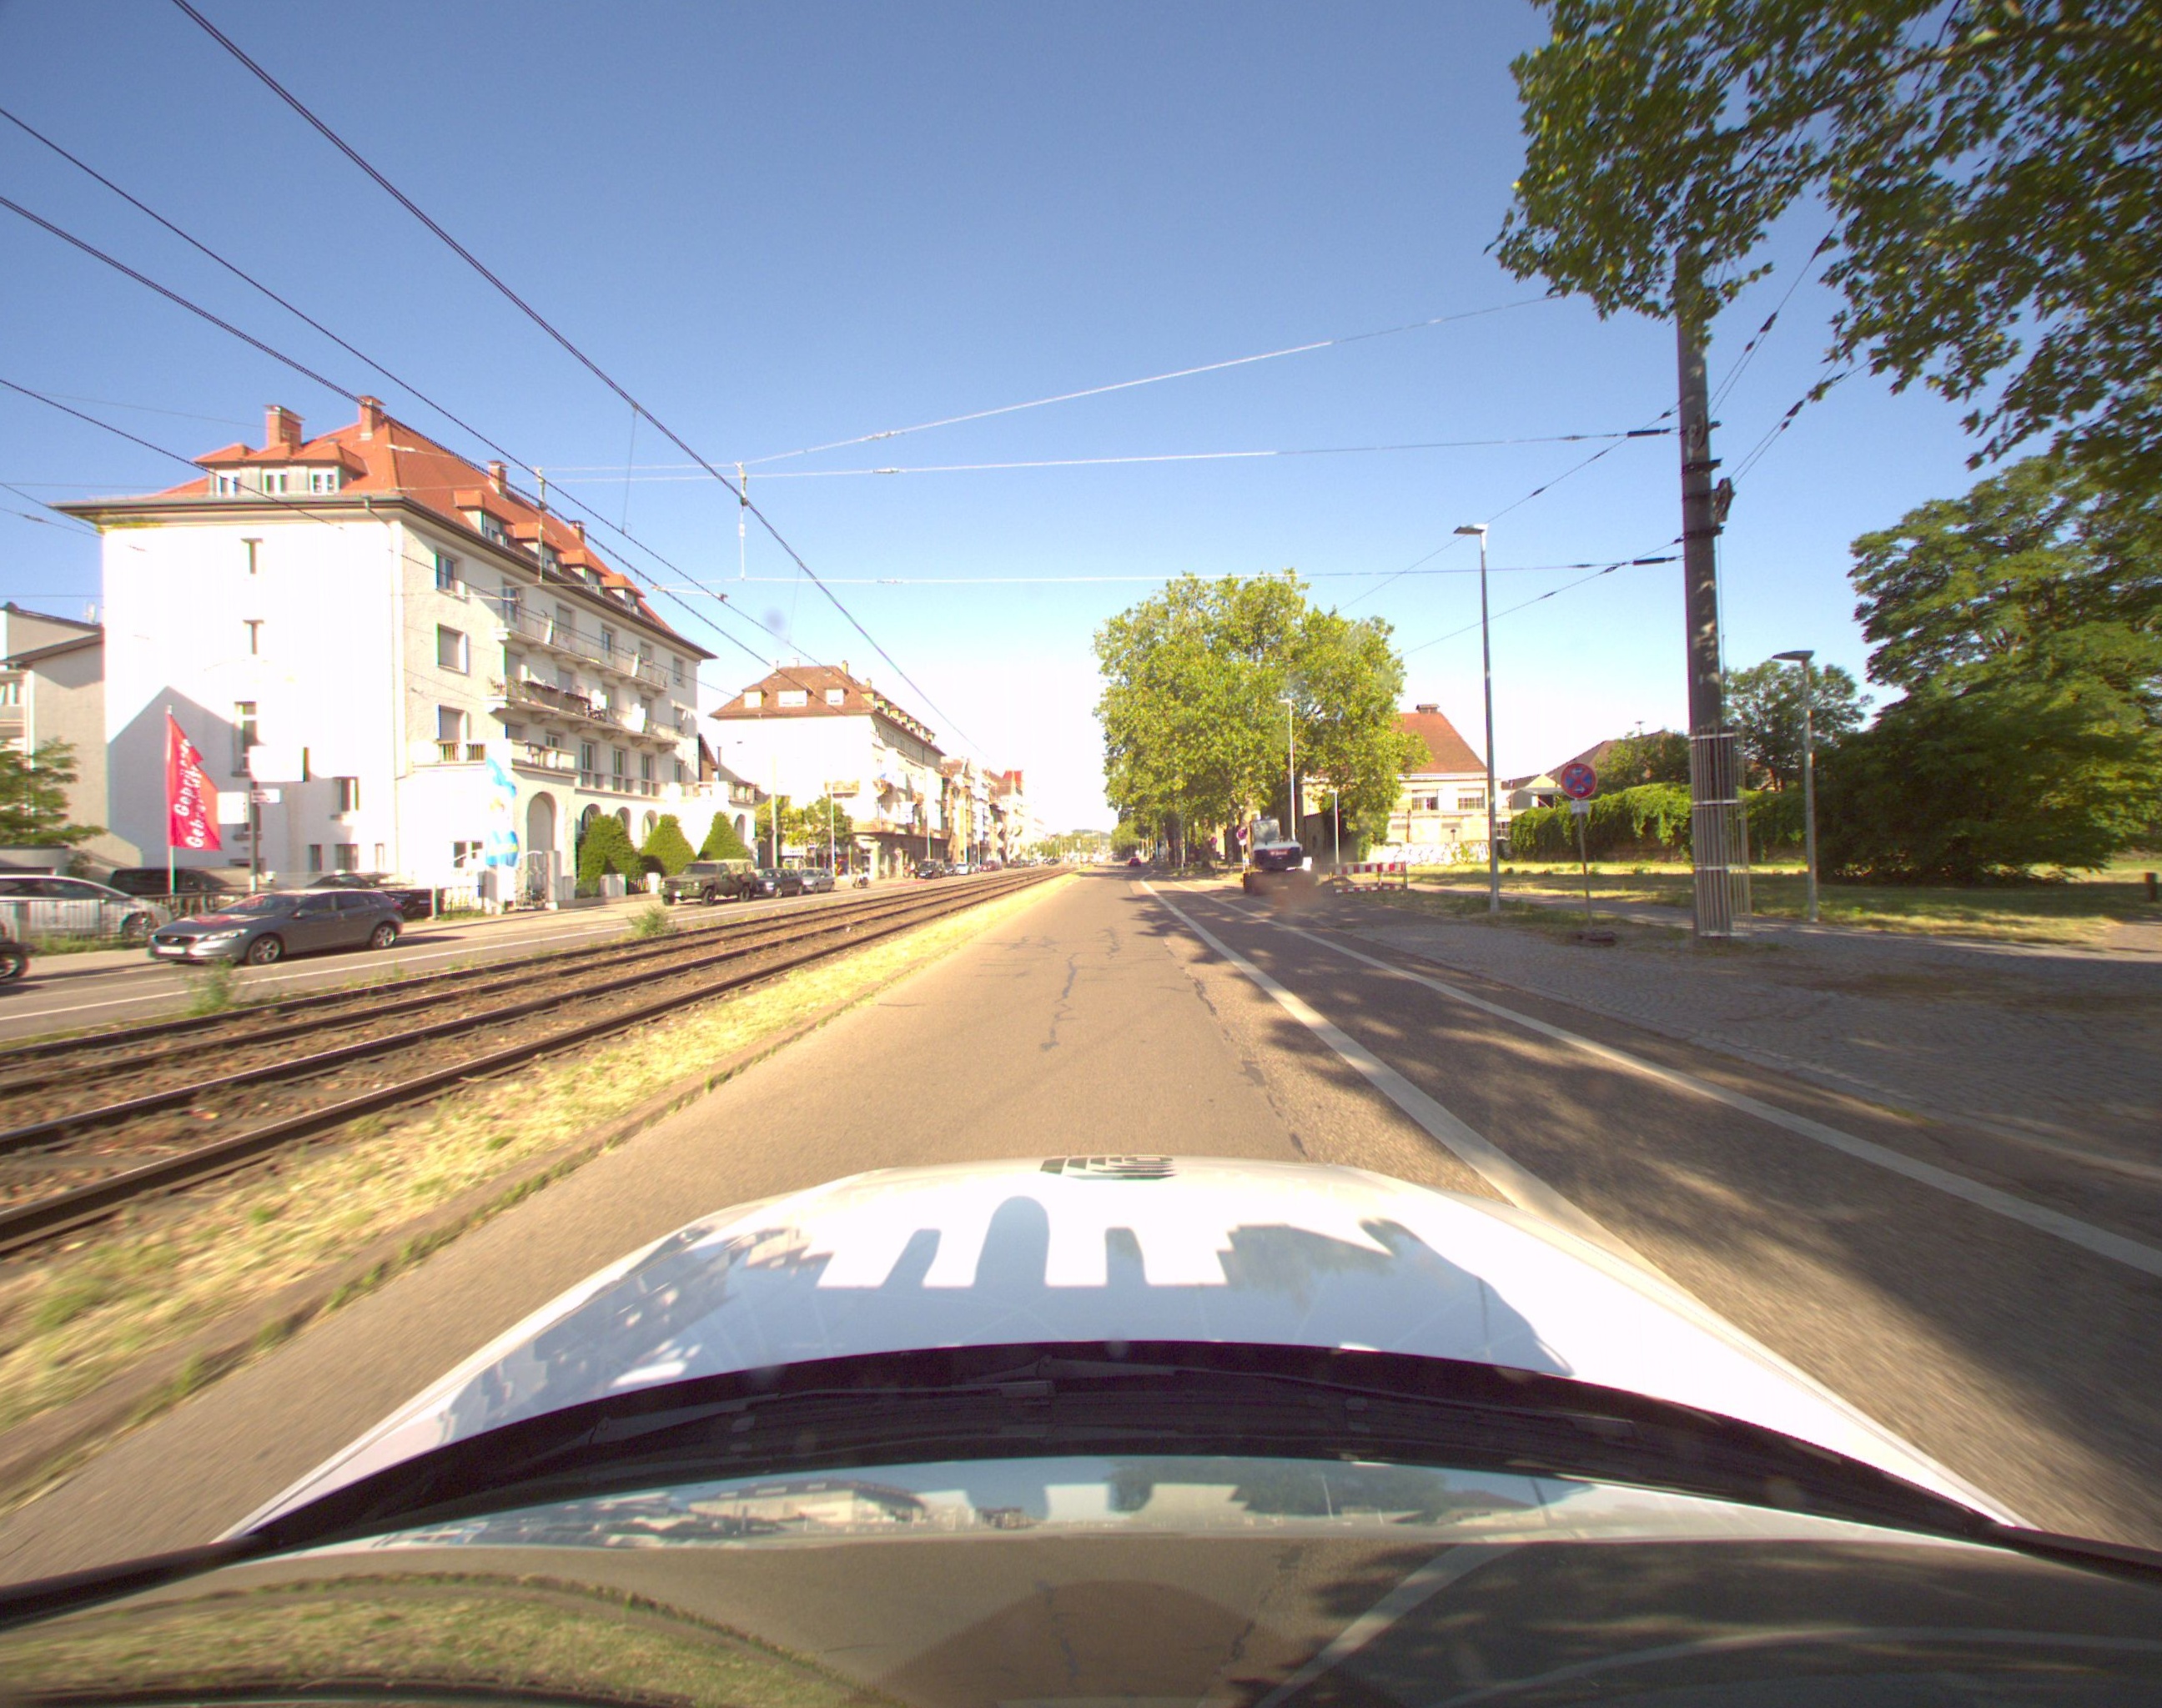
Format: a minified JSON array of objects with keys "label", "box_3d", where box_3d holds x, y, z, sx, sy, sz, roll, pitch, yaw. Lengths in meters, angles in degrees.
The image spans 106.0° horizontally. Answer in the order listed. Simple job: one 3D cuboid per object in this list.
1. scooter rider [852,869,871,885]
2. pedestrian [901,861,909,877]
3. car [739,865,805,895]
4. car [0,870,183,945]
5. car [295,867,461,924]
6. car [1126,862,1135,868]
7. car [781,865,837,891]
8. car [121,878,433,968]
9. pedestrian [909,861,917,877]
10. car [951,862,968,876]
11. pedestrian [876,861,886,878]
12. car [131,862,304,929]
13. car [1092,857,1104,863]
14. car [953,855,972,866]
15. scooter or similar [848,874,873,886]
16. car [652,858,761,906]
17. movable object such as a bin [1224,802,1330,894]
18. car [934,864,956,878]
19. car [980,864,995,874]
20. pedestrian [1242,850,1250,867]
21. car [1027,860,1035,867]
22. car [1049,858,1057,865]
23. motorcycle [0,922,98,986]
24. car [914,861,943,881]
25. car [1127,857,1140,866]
[{"label":"scooter rider","box_3d":[-15.078,1.567,55.878,0.966,1.089,0.813,-2,0,33]},{"label":"pedestrian","box_3d":[-18.045,1.537,83.606,0.586,1.697,0.858,0,-1,4]},{"label":"car","box_3d":[-16.261,1.342,43.105,1.628,1.507,4.163,0,-1,4]},{"label":"car","box_3d":[-24.743,1.254,19.172,1.894,1.655,4.568,-2,-2,6]},{"label":"car","box_3d":[-23.207,1.344,26.945,4.101,1.633,1.958,-2,1,11]},{"label":"car","box_3d":[10.653,2.364,176.344,1.826,1.391,4.160,-1,0,1]},{"label":"car","box_3d":[-16.186,1.412,48.620,1.786,1.510,4.003,0,-1,3]},{"label":"car","box_3d":[-17.209,1.386,17.896,1.914,1.461,4.842,4,0,1]},{"label":"pedestrian","box_3d":[-17.263,1.544,83.601,0.586,1.697,0.858,0,-1,4]},{"label":"car","box_3d":[-14.409,1.798,96.954,1.632,1.469,3.976,-2,-4,-4]},{"label":"pedestrian","box_3d":[-19.573,1.527,79.646,0.636,1.661,0.955,0,-1,4]},{"label":"car","box_3d":[-28.419,1.339,26.865,4.044,2.002,1.995,-2,1,11]},{"label":"car","box_3d":[4.593,1.642,223.375,1.803,1.510,3.966,1,-1,-25]},{"label":"car","box_3d":[-15.340,0.817,105.680,1.628,1.469,4.162,0,0,2]},{"label":"scooter or similar","box_3d":[-15.107,1.774,55.896,1.549,0.770,0.813,-2,0,33]},{"label":"car","box_3d":[-16.923,1.185,37.205,2.068,2.010,5.597,0,0,4]},{"label":"movable object such as a bin","box_3d":[7.792,-0.236,33.336,2.733,3.145,7.225,-5,0,3]},{"label":"car","box_3d":[-15.236,1.852,91.200,1.629,1.469,4.160,2,0,2]},{"label":"car","box_3d":[-13.611,2.181,118.153,1.829,1.391,4.031,2,-1,-3]},{"label":"pedestrian","box_3d":[17.273,0.484,85.366,0.606,1.682,0.636,-5,-1,0]},{"label":"car","box_3d":[-11.327,2.182,185.087,1.790,1.510,3.996,2,0,-2]},{"label":"car","box_3d":[-7.291,1.969,211.837,1.630,1.601,4.158,-3,0,0]},{"label":"motorcycle","box_3d":[-17.804,1.653,13.223,0.820,0.954,2.160,0,-1,16]},{"label":"car","box_3d":[-14.994,1.667,80.315,1.856,1.786,4.402,0,0,1]},{"label":"car","box_3d":[8.324,1.154,129.435,1.826,1.391,4.160,-1,0,1]}]
